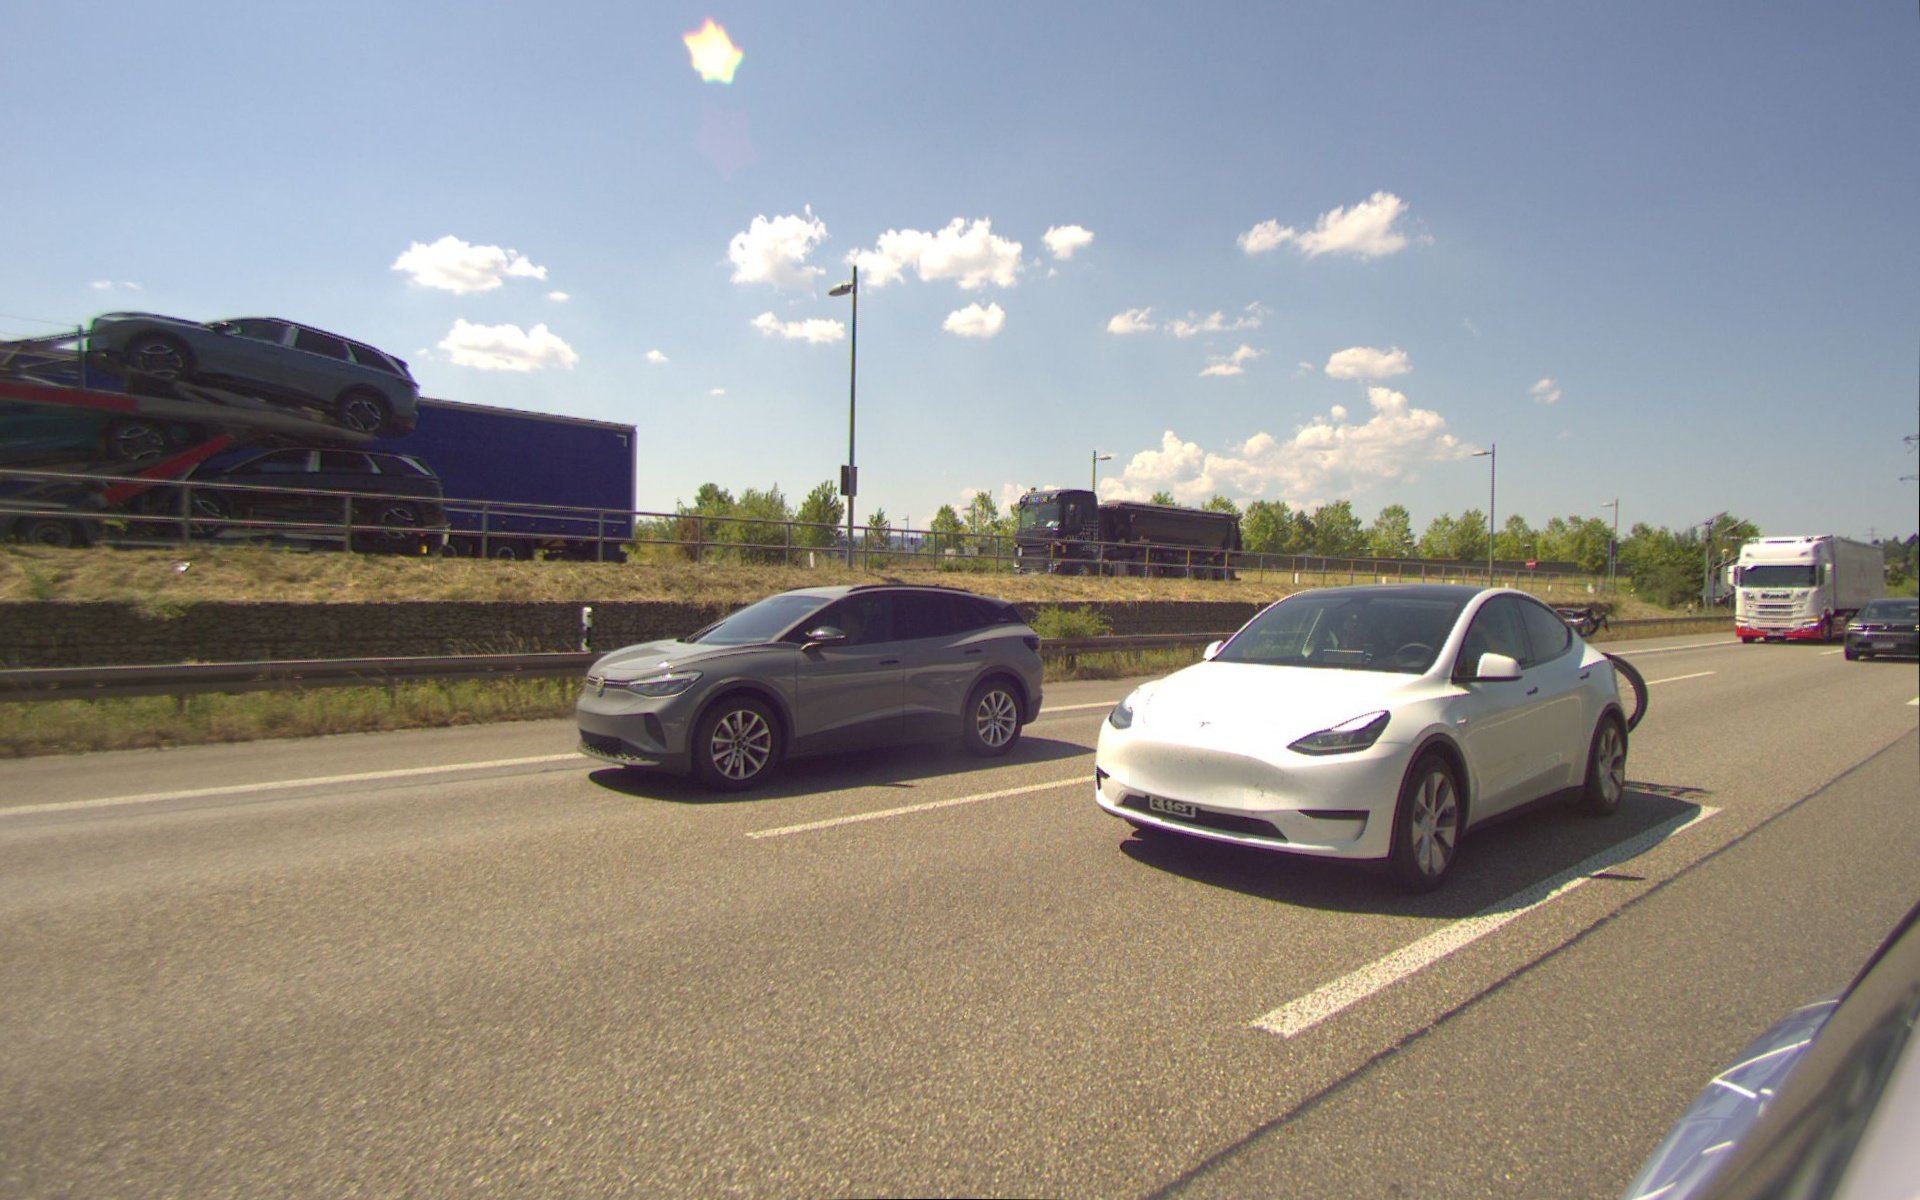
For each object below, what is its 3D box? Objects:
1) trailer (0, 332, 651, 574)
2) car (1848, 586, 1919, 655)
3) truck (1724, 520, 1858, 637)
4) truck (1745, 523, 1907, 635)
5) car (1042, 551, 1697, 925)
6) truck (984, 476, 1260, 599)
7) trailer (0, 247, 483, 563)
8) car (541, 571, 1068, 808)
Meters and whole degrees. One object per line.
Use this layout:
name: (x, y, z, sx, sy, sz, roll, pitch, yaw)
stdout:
trailer: (-14.148, -2.714, 22.365, 14.012, 4.135, 3.056, -1, 0, -42)
car: (24.497, 0.478, 25.957, 3.974, 1.667, 1.955, -1, 0, -39)
truck: (30.025, -0.733, 36.561, 3.779, 3.957, 3.074, 0, 0, -40)
truck: (35.430, -0.794, 41.163, 12.283, 3.957, 3.074, -1, 0, -40)
car: (3.195, 0.585, 7.044, 5.503, 1.657, 1.953, -1, 0, -41)
truck: (6.744, -2.198, 39.884, 12.302, 4.135, 3.794, -1, 0, -41)
trailer: (-16.406, -2.794, 13.550, 18.100, 4.311, 2.610, -1, 0, -41)
car: (-1.226, 0.602, 9.297, 4.506, 1.657, 1.871, -1, 0, -41)
